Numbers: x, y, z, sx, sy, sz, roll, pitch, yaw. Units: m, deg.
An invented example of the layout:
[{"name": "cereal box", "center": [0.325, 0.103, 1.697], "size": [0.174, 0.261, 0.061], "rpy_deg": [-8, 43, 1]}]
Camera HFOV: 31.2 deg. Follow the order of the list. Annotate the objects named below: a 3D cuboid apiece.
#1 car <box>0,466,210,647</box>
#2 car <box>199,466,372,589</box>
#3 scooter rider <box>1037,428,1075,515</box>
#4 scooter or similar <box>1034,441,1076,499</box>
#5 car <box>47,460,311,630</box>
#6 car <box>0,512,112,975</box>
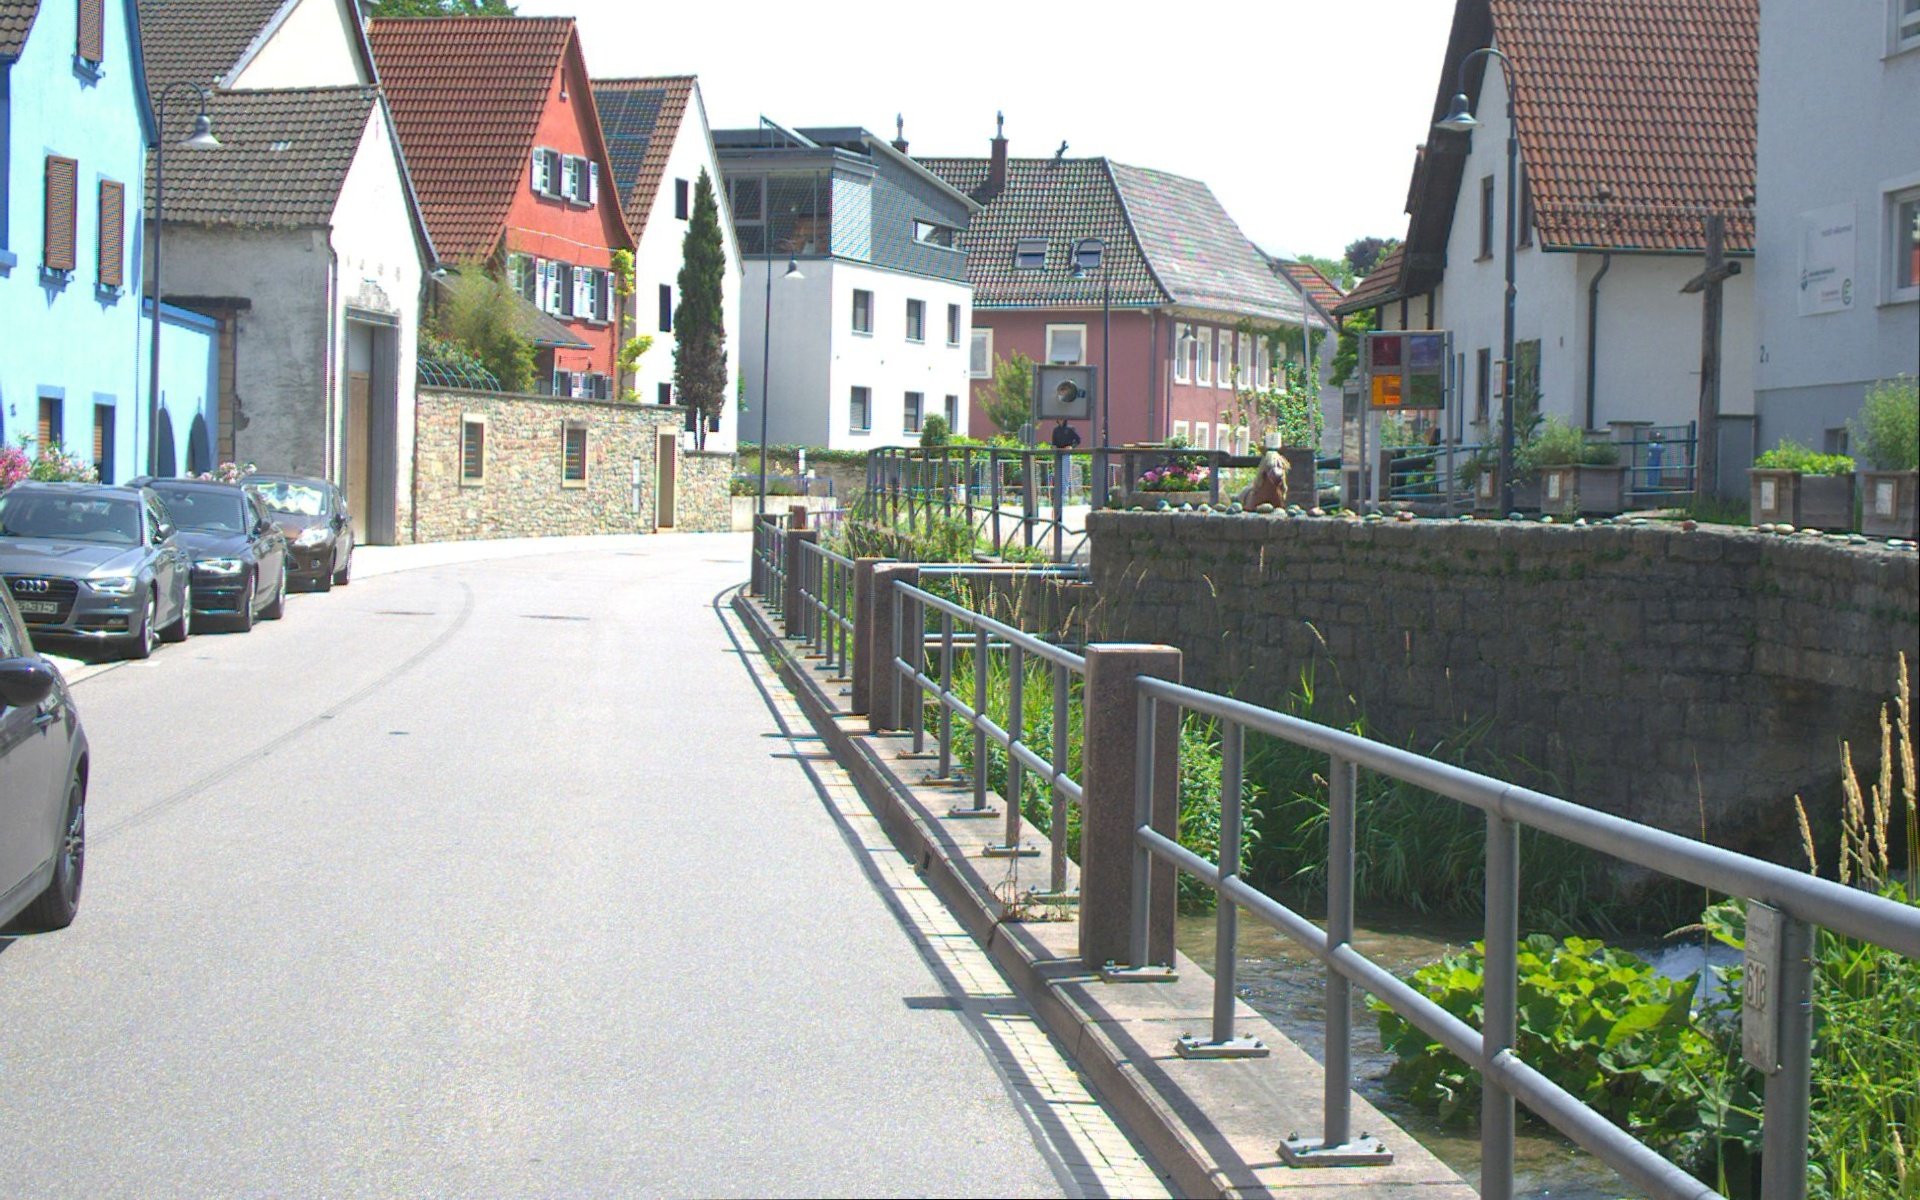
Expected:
[{"name": "car", "center": [-7.961, -0.431, 30.743], "size": [1.956, 1.460, 4.547], "rpy_deg": [2, 1, -6]}, {"name": "car", "center": [-9.005, -1.002, 46.131], "size": [1.717, 1.524, 3.857], "rpy_deg": [1, 3, -2]}, {"name": "scooter rider", "center": [1.937, -2.585, 69.383], "size": [0.641, 1.725, 0.554], "rpy_deg": [2, 2, -5]}, {"name": "scooter or similar", "center": [1.913, -2.617, 69.272], "size": [0.641, 1.138, 1.812], "rpy_deg": [0, 2, -5]}, {"name": "car", "center": [-8.019, -0.630, 35.686], "size": [1.885, 1.459, 4.670], "rpy_deg": [4, 3, -4]}, {"name": "car", "center": [-3.968, 0.428, 11.523], "size": [1.698, 1.460, 4.436], "rpy_deg": [1, 1, -8]}]
